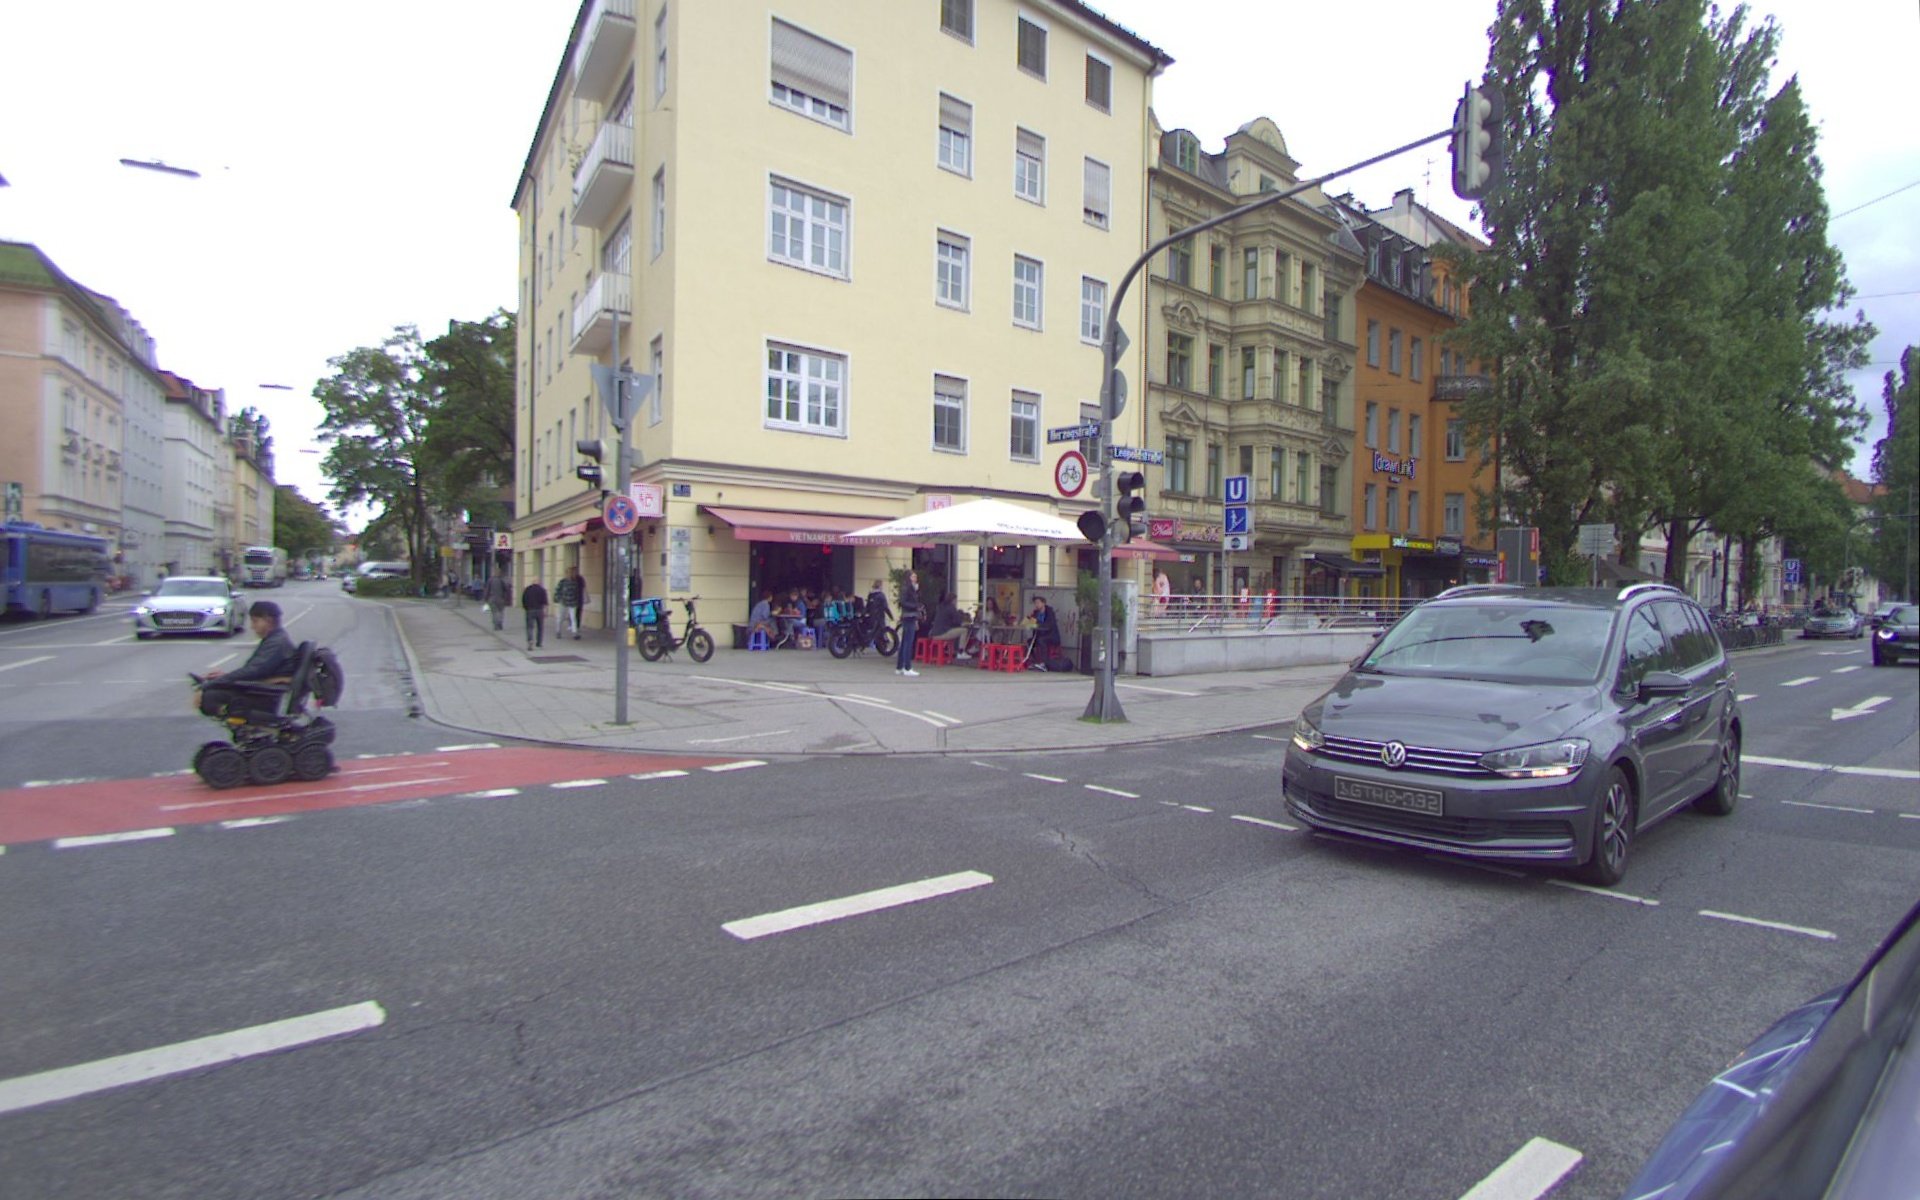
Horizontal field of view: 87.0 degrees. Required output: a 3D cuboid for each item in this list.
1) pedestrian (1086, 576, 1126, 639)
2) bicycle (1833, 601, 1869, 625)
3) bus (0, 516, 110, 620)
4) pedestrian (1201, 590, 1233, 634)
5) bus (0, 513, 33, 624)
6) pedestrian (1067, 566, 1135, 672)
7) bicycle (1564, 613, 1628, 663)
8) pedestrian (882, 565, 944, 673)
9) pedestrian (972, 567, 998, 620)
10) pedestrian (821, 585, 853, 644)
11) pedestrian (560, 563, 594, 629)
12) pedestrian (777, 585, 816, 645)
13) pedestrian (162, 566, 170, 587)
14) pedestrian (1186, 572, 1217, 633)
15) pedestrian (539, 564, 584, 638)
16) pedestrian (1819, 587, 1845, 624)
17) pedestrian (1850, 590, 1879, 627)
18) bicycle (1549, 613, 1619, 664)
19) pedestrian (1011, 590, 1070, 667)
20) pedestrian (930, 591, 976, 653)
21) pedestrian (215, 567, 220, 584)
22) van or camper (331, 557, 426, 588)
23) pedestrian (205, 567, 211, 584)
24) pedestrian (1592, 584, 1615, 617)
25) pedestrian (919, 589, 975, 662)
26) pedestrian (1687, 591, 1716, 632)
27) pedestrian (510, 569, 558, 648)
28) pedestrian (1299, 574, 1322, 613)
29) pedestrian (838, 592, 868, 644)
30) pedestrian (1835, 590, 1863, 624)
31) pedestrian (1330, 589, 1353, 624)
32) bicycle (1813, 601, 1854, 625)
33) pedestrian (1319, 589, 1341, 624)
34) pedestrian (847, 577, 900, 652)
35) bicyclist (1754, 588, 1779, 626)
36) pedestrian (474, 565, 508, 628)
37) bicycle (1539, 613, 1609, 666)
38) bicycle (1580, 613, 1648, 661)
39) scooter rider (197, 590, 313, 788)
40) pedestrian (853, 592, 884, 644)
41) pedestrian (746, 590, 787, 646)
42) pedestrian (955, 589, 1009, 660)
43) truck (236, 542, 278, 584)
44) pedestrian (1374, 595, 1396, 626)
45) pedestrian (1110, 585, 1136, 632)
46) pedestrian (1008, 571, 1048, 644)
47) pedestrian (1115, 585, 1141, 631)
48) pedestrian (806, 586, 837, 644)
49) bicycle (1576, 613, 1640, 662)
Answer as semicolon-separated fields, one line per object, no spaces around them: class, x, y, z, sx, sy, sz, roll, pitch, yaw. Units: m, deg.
pedestrian;3.917;0.190;27.072;0.772;1.653;0.711;0;1;-41
bicycle;44.027;0.614;50.022;0.353;1.116;1.743;1;1;5
bus;-30.838;-1.087;33.215;2.759;3.004;9.596;2;1;-30
pedestrian;7.341;0.333;28.915;0.654;1.237;0.601;0;1;-41
bus;-25.064;-0.767;23.089;2.759;3.004;13.621;2;1;-30
pedestrian;2.438;0.310;17.458;0.877;1.765;0.848;1;1;33
bicycle;14.383;0.842;22.922;0.341;1.008;1.841;1;2;3
pedestrian;-0.771;0.296;16.714;0.752;1.716;0.762;1;1;24
pedestrian;0.687;-0.182;27.824;0.480;1.414;0.511;0;1;-35
pedestrian;-2.755;0.322;22.742;0.518;1.315;0.479;1;0;-42
pedestrian;-10.052;-0.113;26.564;0.690;1.704;0.854;1;1;-30
pedestrian;-3.619;0.329;22.411;0.691;1.308;0.515;0;1;-42
pedestrian;-53.911;-1.606;68.697;0.402;1.375;0.450;1;1;-33
pedestrian;7.001;0.064;29.335;0.654;1.761;0.601;0;1;-41
pedestrian;-9.387;0.017;23.817;0.822;1.704;1.040;1;1;-30
pedestrian;43.269;0.253;50.217;0.638;1.803;0.702;1;-1;-7
pedestrian;45.192;0.429;50.579;0.741;1.824;0.883;1;-1;-30
bicycle;13.861;0.841;22.530;0.341;1.008;1.843;1;2;-1
pedestrian;1.438;0.500;18.095;0.782;1.327;0.679;0;1;-40
pedestrian;-0.133;0.440;20.611;0.688;1.218;0.627;0;1;-40
pedestrian;-68.840;-2.274;93.830;0.402;1.529;0.450;1;0;-33
van or camper;-44.292;-2.071;77.259;1.985;2.306;6.065;1;1;32
pedestrian;-69.535;-2.272;93.524;0.402;1.529;0.450;1;0;-33
pedestrian;34.167;0.005;53.760;0.999;1.735;0.747;0;1;-41
pedestrian;-0.240;0.457;18.911;0.782;1.328;0.679;0;1;-40
pedestrian;29.489;0.455;40.228;0.749;1.582;0.761;1;0;-39
pedestrian;-8.813;0.160;20.936;0.753;1.605;0.760;1;1;-37
pedestrian;13.575;-0.239;39.198;0.572;1.493;0.627;1;1;-38
pedestrian;-2.506;0.407;23.660;0.518;1.180;0.479;1;0;-42
pedestrian;44.071;0.331;50.190;0.743;1.659;0.700;1;-1;6
pedestrian;14.486;0.242;38.436;0.573;1.296;0.584;0;1;-41
bicycle;43.242;0.625;50.102;0.352;1.116;1.747;1;1;-6
pedestrian;13.856;0.241;37.905;0.573;1.296;0.584;0;1;-41
pedestrian;-1.835;0.291;21.535;0.727;1.560;0.880;1;1;35
bicyclist;34.910;0.285;43.821;0.923;1.623;0.681;0;1;-41
pedestrian;-12.676;-0.109;27.331;0.752;1.663;0.761;1;1;-30
bicycle;13.379;0.840;22.103;0.341;1.008;1.843;1;2;-1
bicycle;15.395;0.844;23.867;0.341;1.008;1.843;1;2;-1
scooter rider;-5.389;0.633;7.728;0.632;1.406;0.702;1;1;-42
pedestrian;-2.113;0.400;23.300;0.518;1.180;0.479;1;0;-42
pedestrian;-4.171;0.379;21.840;0.691;1.197;0.515;0;1;-42
pedestrian;0.421;0.458;19.481;0.782;1.328;0.679;0;1;-40
truck;-72.945;-3.760;105.317;2.855;3.963;18.914;1;1;-33
pedestrian;17.235;0.410;41.082;0.573;1.233;0.623;0;1;-41
pedestrian;4.662;0.232;28.950;0.542;1.305;0.496;0;1;-41
pedestrian;1.567;0.155;23.268;0.666;1.653;0.616;0;1;-41
pedestrian;4.995;0.241;30.078;0.542;1.349;0.496;0;1;-41
pedestrian;-3.162;0.334;23.134;0.518;1.315;0.479;1;0;-42
bicycle;14.931;0.843;23.366;0.341;1.008;1.841;1;2;3
